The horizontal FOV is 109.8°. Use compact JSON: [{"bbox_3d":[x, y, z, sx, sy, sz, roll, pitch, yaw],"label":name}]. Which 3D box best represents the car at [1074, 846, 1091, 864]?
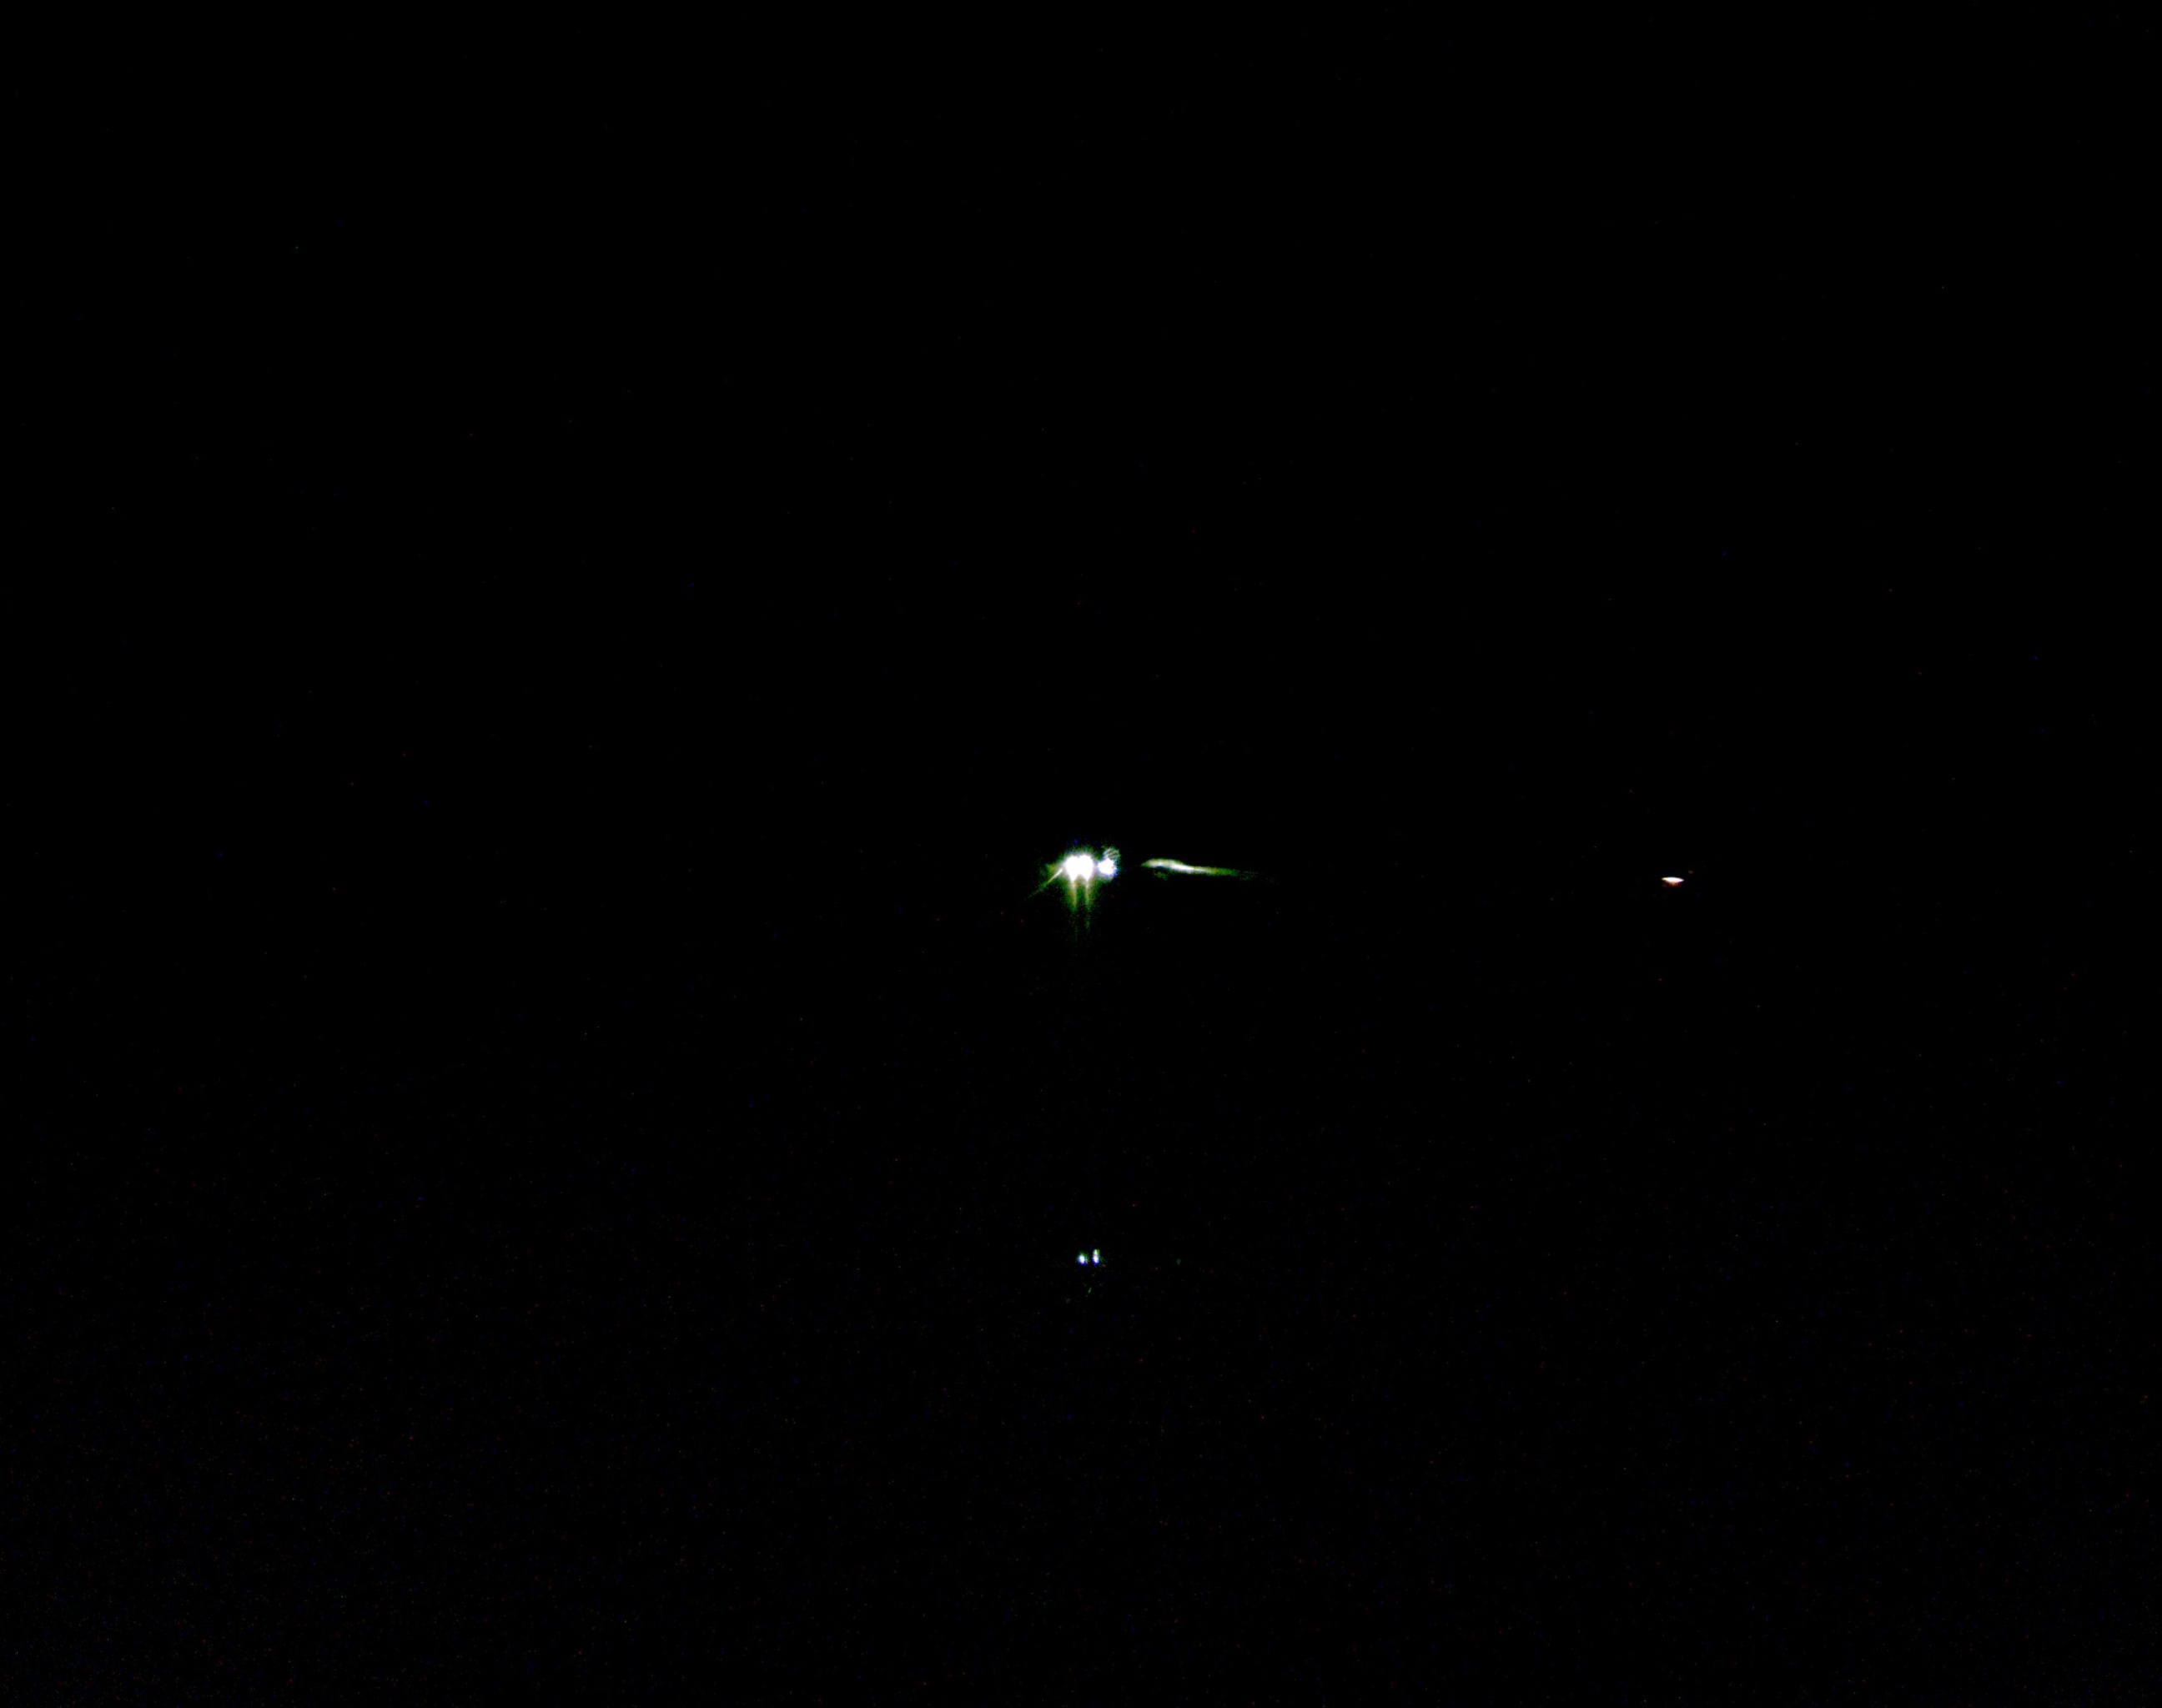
[{"bbox_3d":[0.163,0.062,94.832,1.998,2.003,3.998,-2,3,0],"label":"car"}]

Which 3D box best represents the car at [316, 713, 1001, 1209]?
[{"bbox_3d":[-1.968,0.366,5.271,2.202,2.003,4.205,-2,3,1],"label":"car"}]
